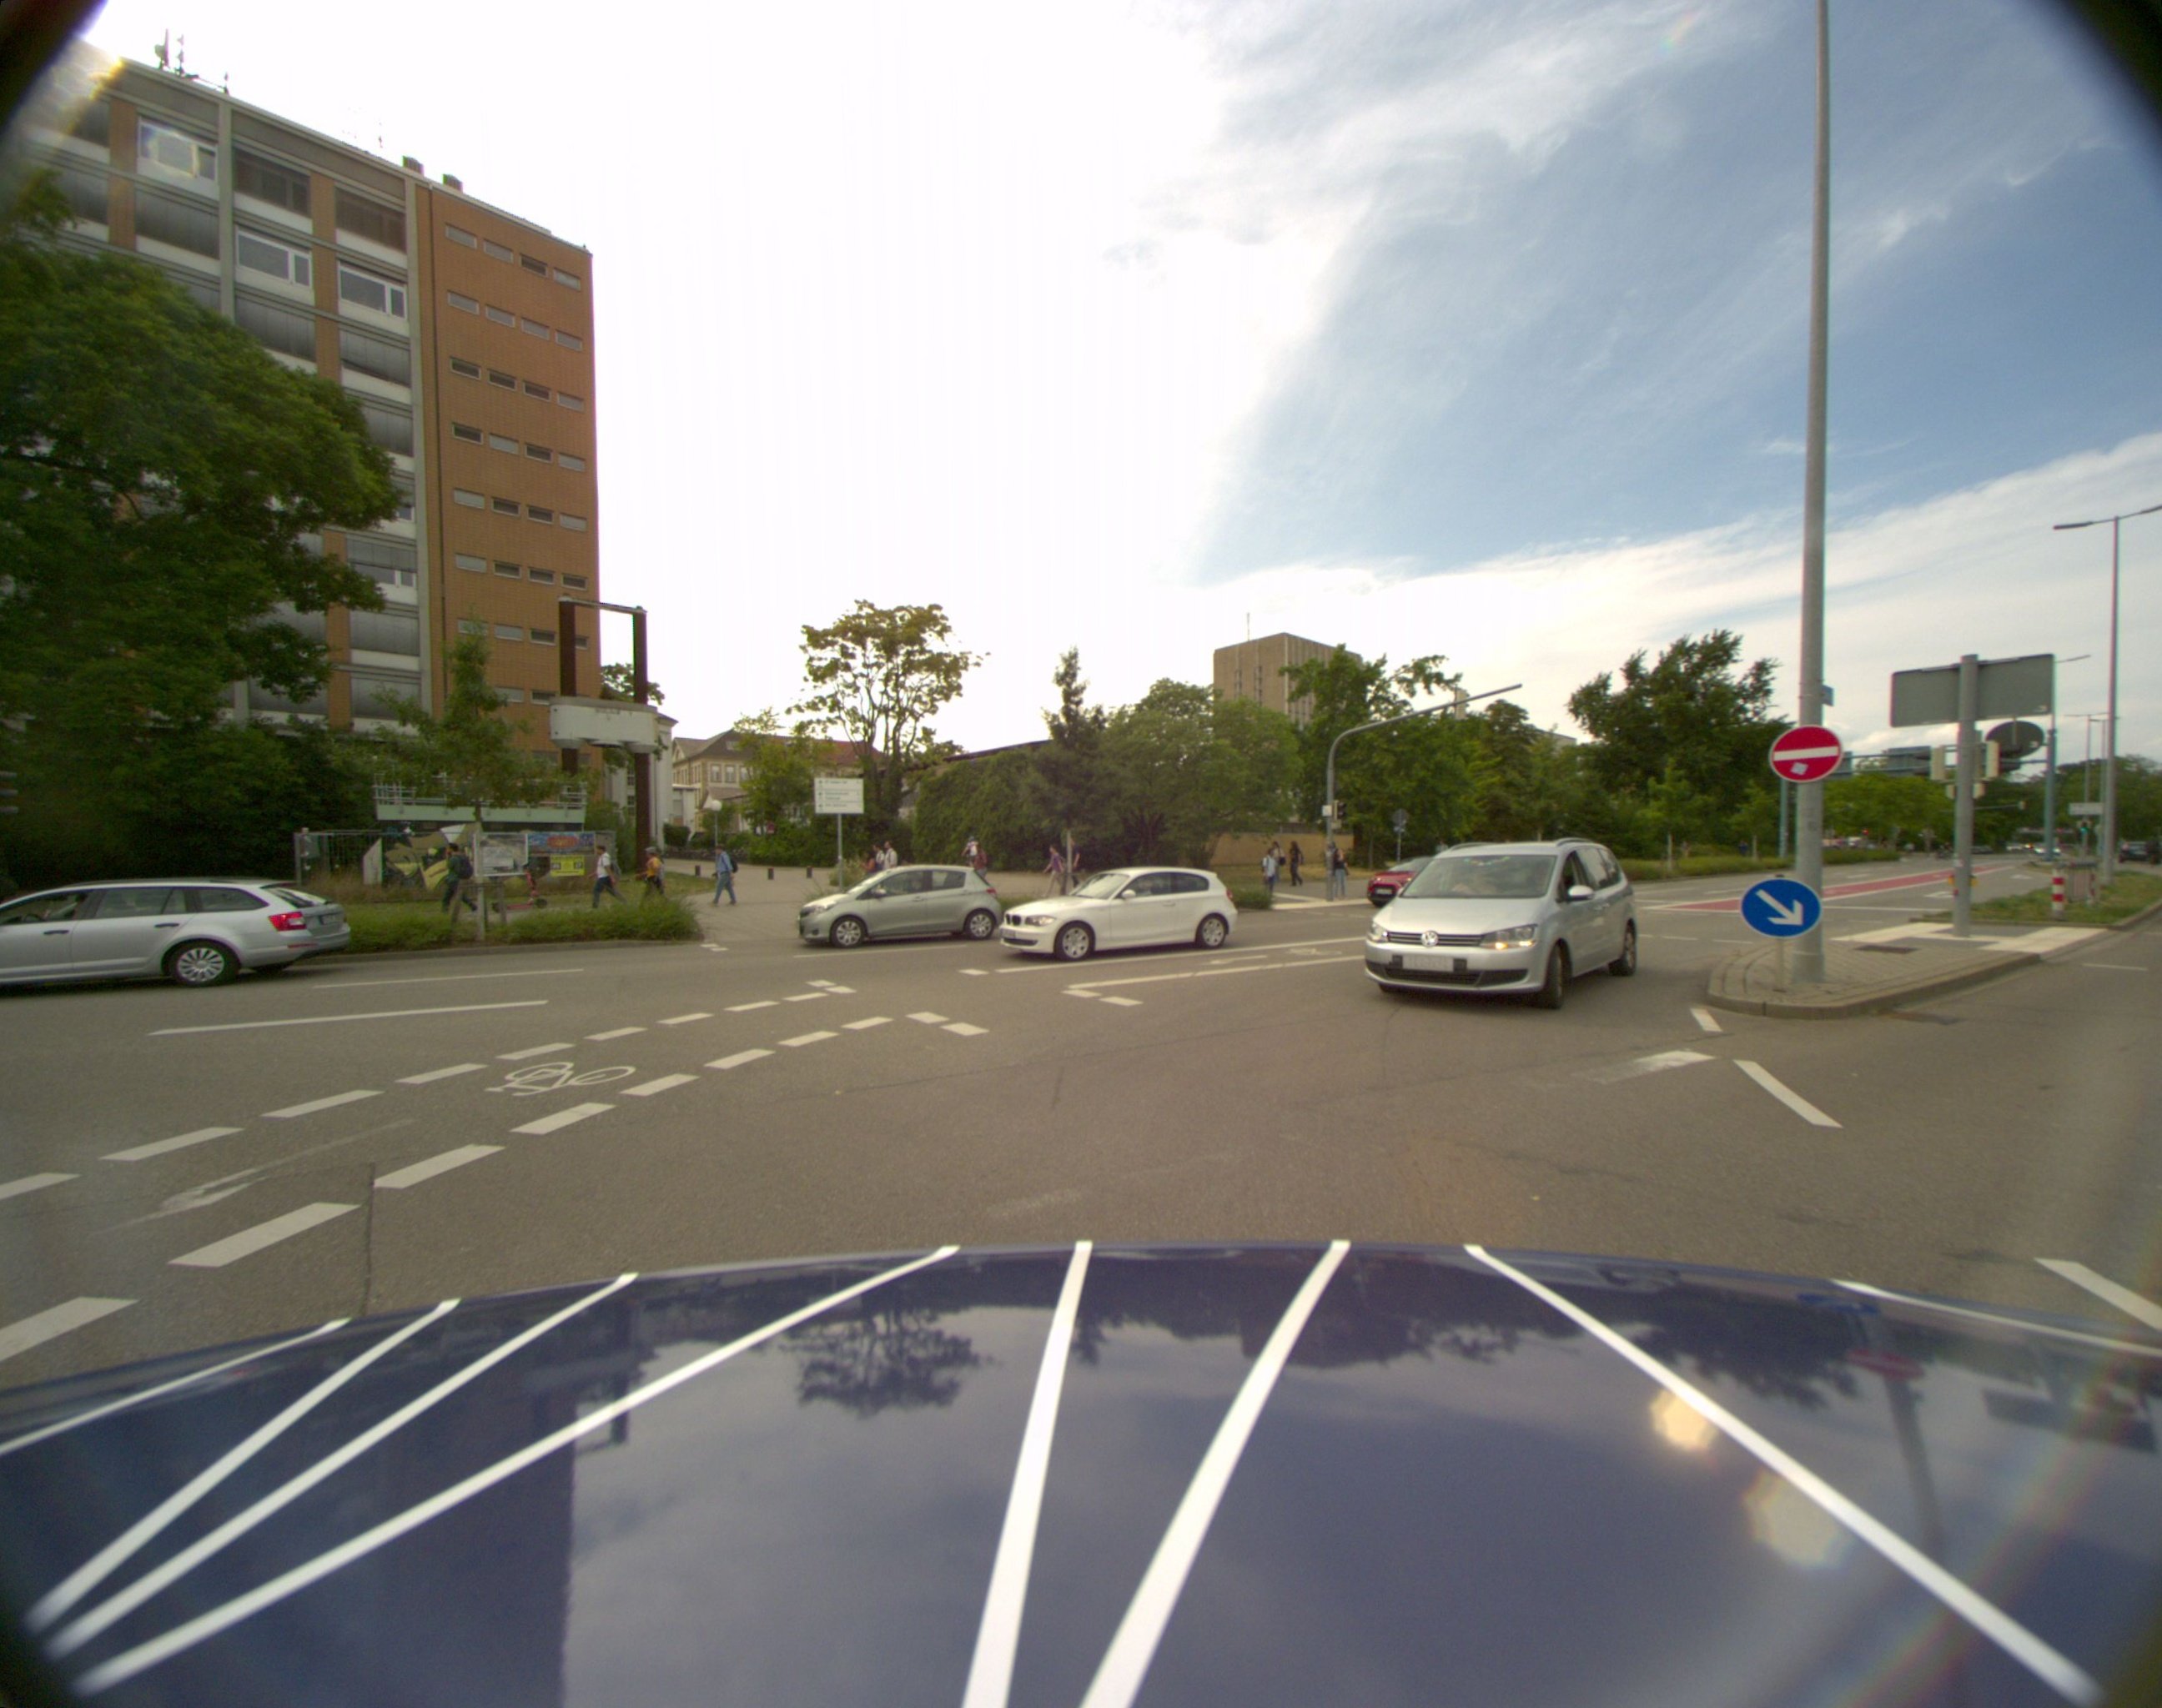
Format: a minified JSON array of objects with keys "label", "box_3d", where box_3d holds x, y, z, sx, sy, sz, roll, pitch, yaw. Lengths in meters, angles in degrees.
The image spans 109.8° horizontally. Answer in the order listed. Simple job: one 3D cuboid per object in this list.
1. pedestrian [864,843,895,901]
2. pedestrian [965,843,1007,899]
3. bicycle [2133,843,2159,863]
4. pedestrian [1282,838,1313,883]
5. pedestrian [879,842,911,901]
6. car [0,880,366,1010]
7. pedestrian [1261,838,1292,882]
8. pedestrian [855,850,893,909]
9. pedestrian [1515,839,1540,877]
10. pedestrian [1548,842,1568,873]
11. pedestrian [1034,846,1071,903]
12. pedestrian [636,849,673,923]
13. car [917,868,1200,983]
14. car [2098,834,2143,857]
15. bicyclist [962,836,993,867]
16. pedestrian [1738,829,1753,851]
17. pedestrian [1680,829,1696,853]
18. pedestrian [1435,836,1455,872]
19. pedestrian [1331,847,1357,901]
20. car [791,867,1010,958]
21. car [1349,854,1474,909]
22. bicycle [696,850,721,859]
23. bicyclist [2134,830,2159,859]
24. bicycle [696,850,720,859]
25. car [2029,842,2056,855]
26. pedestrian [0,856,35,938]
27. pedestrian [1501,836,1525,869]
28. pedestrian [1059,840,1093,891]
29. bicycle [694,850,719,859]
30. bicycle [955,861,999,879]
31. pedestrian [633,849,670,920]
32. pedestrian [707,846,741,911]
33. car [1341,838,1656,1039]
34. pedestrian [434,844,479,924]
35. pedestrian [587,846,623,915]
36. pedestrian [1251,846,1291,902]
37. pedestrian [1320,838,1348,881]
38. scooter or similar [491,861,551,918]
[{"label":"pedestrian","box_3d":[-6.084,0.547,22.953,0.709,1.701,0.638,-2,0,-32]},{"label":"pedestrian","box_3d":[-2.965,0.526,23.736,1.014,1.701,0.837,-2,0,-32]},{"label":"bicycle","box_3d":[65.286,-0.056,46.573,2.102,1.182,0.756,0,3,-33]},{"label":"pedestrian","box_3d":[8.274,0.254,29.021,0.837,1.701,0.801,-1,0,40]},{"label":"pedestrian","box_3d":[-5.498,0.503,22.454,0.709,1.701,0.638,-2,0,-32]},{"label":"car","box_3d":[-13.184,1.188,10.426,4.533,1.465,1.822,-2,0,-24]},{"label":"pedestrian","box_3d":[7.622,0.241,29.605,0.837,1.701,0.801,-1,0,40]},{"label":"pedestrian","box_3d":[-5.718,0.691,20.995,0.801,1.535,0.837,-2,4,-32]},{"label":"pedestrian","box_3d":[20.584,0.195,35.037,0.694,1.701,0.733,-2,0,-32]},{"label":"pedestrian","box_3d":[26.431,0.176,42.091,0.696,1.701,0.713,-2,0,-36]},{"label":"pedestrian","box_3d":[-0.886,0.636,23.466,0.801,1.701,0.837,-2,0,-32]},{"label":"pedestrian","box_3d":[-10.220,0.749,18.195,0.709,1.701,0.638,-2,3,-32]},{"label":"car","box_3d":[-0.298,1.025,12.324,4.230,1.449,1.756,-1,0,-31]},{"label":"car","box_3d":[73.181,-0.646,53.485,4.137,1.481,1.784,-1,4,-36]},{"label":"bicyclist","box_3d":[-4.394,-0.089,32.254,0.837,1.270,1.015,-1,0,34]},{"label":"pedestrian","box_3d":[52.058,-1.102,59.496,0.696,1.701,0.713,-2,0,-36]},{"label":"pedestrian","box_3d":[42.915,-0.904,53.740,0.696,1.701,0.713,-2,0,-36]},{"label":"pedestrian","box_3d":[17.183,-0.014,35.866,0.696,1.687,0.543,-2,4,-39]},{"label":"pedestrian","box_3d":[8.402,0.625,24.288,0.589,1.701,0.480,-2,0,-30]},{"label":"car","box_3d":[-3.529,1.055,14.903,3.880,1.480,1.668,-2,0,-26]},{"label":"car","box_3d":[9.669,0.763,22.159,3.463,1.407,1.667,-1,0,-33]},{"label":"bicycle","box_3d":[-30.112,0.034,61.415,1.847,0.690,0.650,-2,0,-27]},{"label":"bicyclist","box_3d":[65.333,-0.589,46.586,1.088,1.701,0.776,0,3,-33]},{"label":"bicycle","box_3d":[-31.692,0.066,64.589,1.847,0.690,0.650,-2,0,-27]},{"label":"car","box_3d":[119.874,-0.686,94.726,4.137,1.481,1.784,-1,4,-36]},{"label":"pedestrian","box_3d":[-21.528,0.840,14.946,0.813,1.565,0.778,-2,3,-32]},{"label":"pedestrian","box_3d":[22.518,-0.064,39.578,0.696,1.701,0.840,-2,0,-39]},{"label":"pedestrian","box_3d":[-0.176,0.397,26.062,0.801,1.701,0.837,-2,0,-32]},{"label":"bicycle","box_3d":[-30.997,0.066,62.865,1.847,0.690,0.650,-2,0,-27]},{"label":"bicycle","box_3d":[-4.400,0.686,32.227,0.841,0.690,1.849,-2,0,34]},{"label":"pedestrian","box_3d":[-10.636,0.732,18.805,0.709,1.701,0.638,-2,0,-32]},{"label":"pedestrian","box_3d":[-9.679,0.637,20.599,0.709,1.702,0.638,-2,4,-32]},{"label":"car","box_3d":[5.012,0.718,8.784,4.537,1.724,1.820,-1,0,-43]},{"label":"pedestrian","box_3d":[-14.805,0.694,18.032,0.709,1.842,0.638,-2,2,-32]},{"label":"pedestrian","box_3d":[-11.974,0.648,19.121,0.709,1.701,0.638,-2,2,-32]},{"label":"pedestrian","box_3d":[5.935,0.616,23.715,0.841,1.701,0.798,-2,0,-30]},{"label":"pedestrian","box_3d":[10.347,0.225,31.111,0.801,1.701,0.713,-2,0,-39]},{"label":"scooter or similar","box_3d":[-14.133,0.875,19.187,0.398,1.362,1.150,-1,0,45]}]
